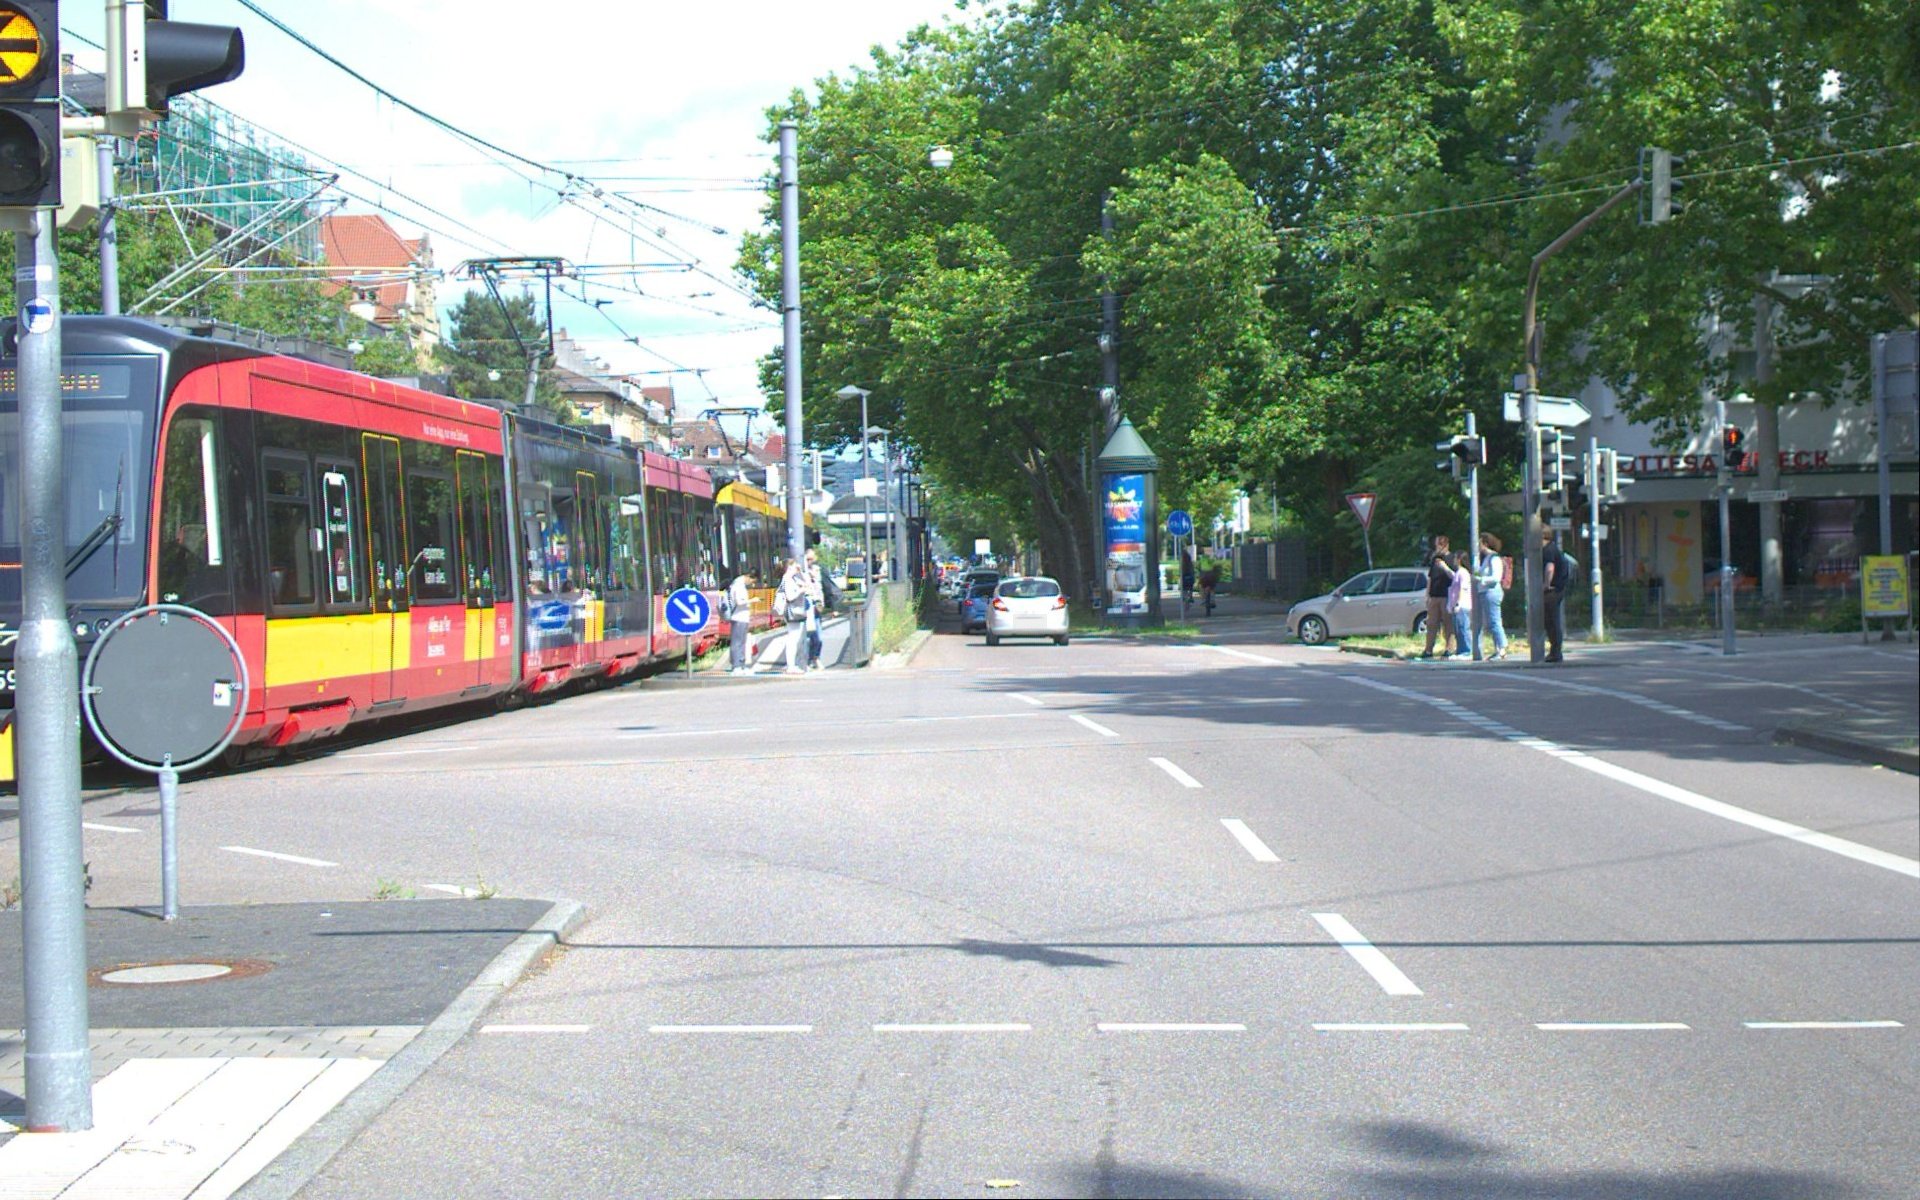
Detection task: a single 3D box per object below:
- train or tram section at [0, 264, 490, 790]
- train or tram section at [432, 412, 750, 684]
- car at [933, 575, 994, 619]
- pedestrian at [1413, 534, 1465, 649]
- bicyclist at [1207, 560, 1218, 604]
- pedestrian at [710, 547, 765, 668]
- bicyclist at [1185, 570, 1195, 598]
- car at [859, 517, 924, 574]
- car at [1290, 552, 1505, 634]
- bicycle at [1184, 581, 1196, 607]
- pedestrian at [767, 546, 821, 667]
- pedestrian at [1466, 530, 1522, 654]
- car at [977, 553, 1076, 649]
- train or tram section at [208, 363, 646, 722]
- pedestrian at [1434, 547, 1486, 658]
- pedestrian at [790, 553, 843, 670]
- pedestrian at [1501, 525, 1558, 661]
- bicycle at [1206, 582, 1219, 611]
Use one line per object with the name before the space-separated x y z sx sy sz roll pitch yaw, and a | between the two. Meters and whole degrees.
train or tram section | -6.460 -0.547 29.149 2.796 3.549 11.376 -2 1 3
train or tram section | -5.313 -0.777 52.079 2.806 3.549 12.155 -2 1 3
car | 0.084 -0.091 94.928 1.624 1.174 4.000 0 1 -1
pedestrian | 7.022 -0.131 50.439 0.510 1.665 0.556 -2 0 -21
bicyclist | 7.062 -0.504 96.091 0.279 1.224 0.282 1 0 -1
pedestrian | -3.173 0.107 49.106 0.669 1.697 0.648 -2 0 3
bicyclist | 7.129 -0.499 106.605 0.279 0.852 0.360 1 0 9
car | -2.257 -1.805 114.297 1.815 1.798 4.000 -2 1 3
car | 8.242 -0.128 64.829 3.600 1.448 1.751 -1 1 34
bicycle | 7.122 -0.191 106.621 0.279 0.783 0.955 1 0 9
pedestrian | -2.366 0.085 49.060 0.669 1.697 0.648 -2 0 3
pedestrian | 7.543 -0.111 48.545 0.527 1.729 0.556 -2 0 -21
car | 1.400 -0.002 73.865 1.993 2.007 4.000 0 1 -1
train or tram section | -5.916 -0.651 40.419 2.806 3.549 11.181 -2 1 3
pedestrian | 7.257 0.030 49.901 0.510 1.592 0.556 -2 0 -21
pedestrian | -2.132 0.166 51.128 0.669 1.697 0.648 -2 0 3
pedestrian | 7.691 -0.092 46.441 0.481 1.819 0.555 -1 1 43
bicycle | 7.058 -0.094 96.090 0.279 0.783 0.956 1 0 -1
